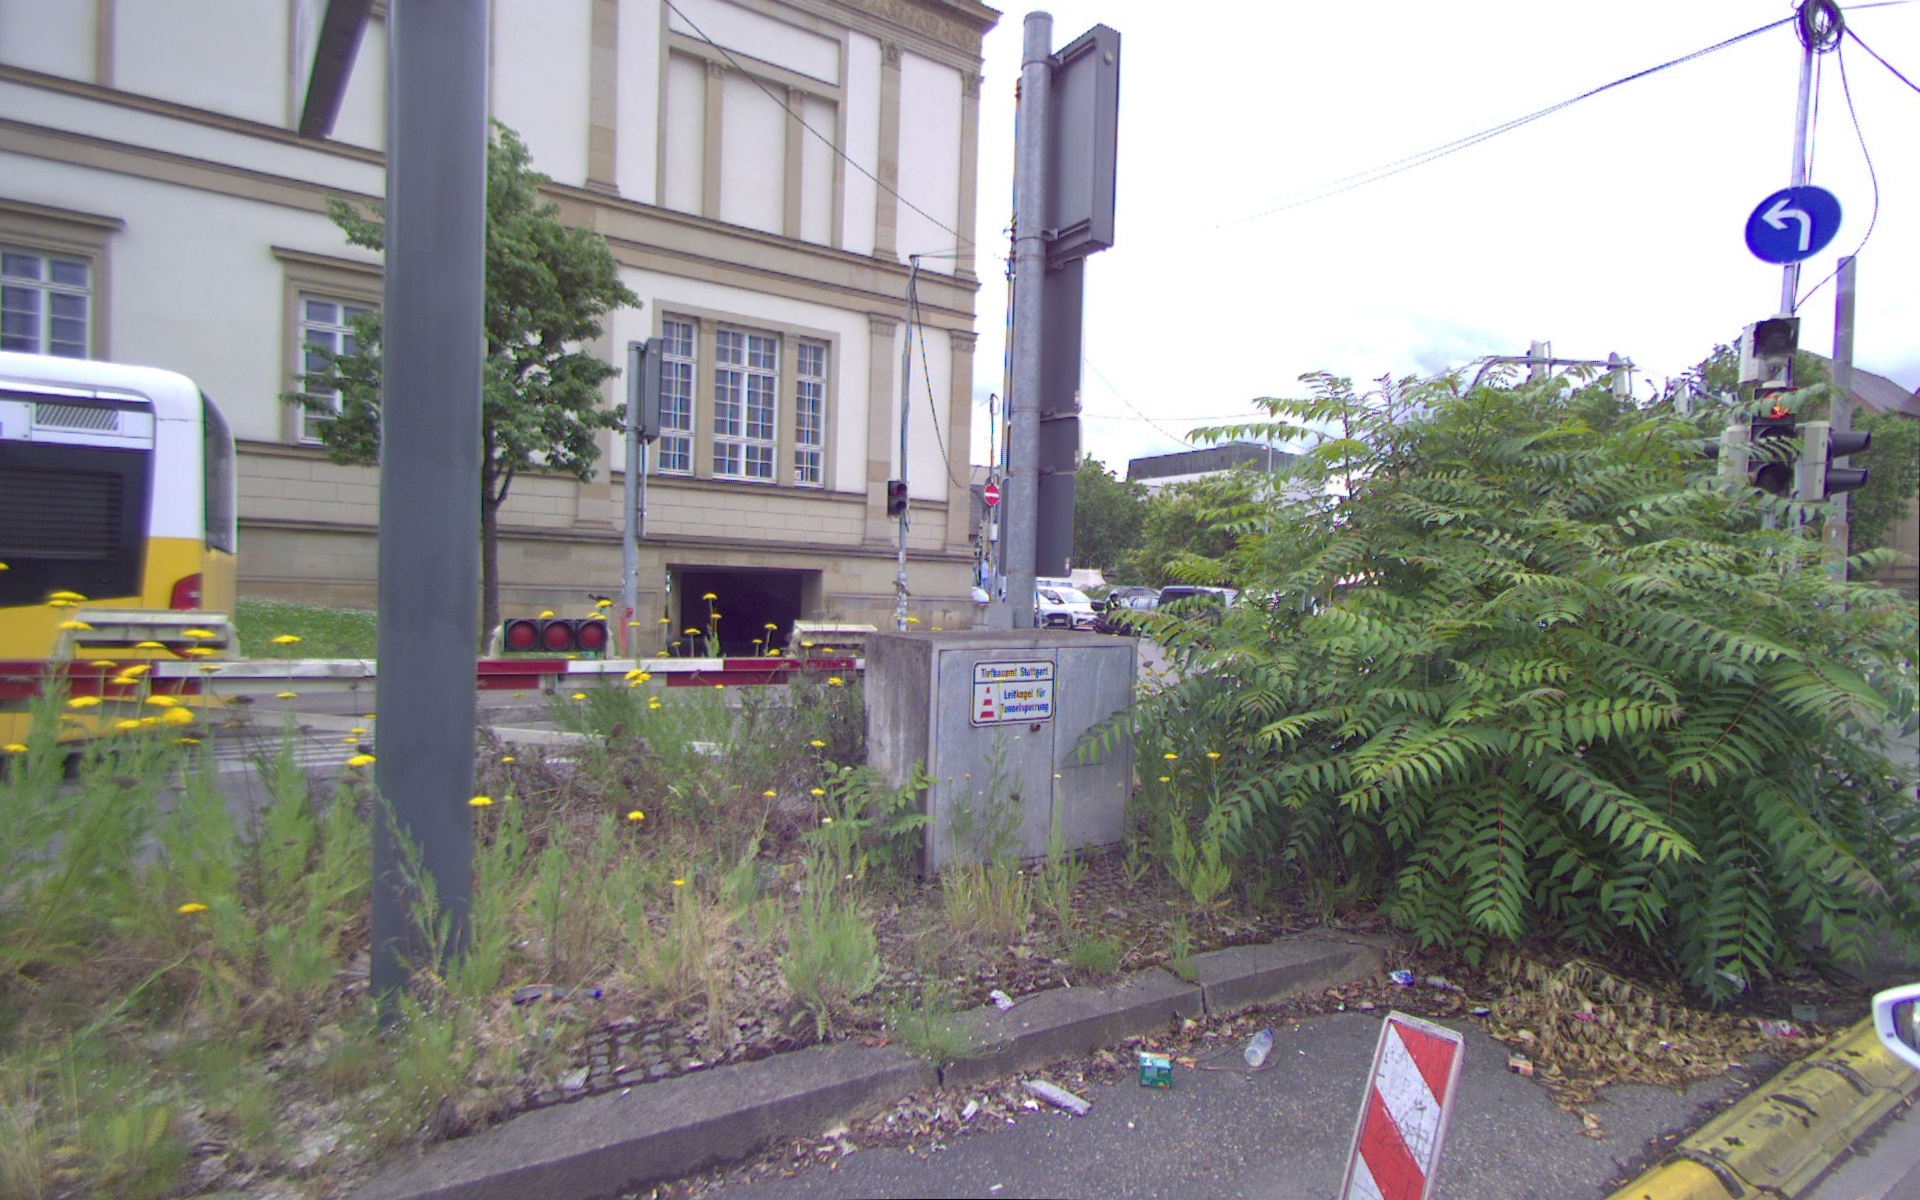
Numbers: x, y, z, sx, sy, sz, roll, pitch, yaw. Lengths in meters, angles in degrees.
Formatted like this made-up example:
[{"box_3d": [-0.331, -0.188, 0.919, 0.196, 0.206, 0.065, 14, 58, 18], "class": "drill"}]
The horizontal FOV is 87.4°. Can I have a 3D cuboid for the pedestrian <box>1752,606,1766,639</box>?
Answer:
[{"box_3d": [49.757, 1.377, 62.572, 0.516, 2.040, 0.428, 2, 1, 17], "class": "pedestrian"}]

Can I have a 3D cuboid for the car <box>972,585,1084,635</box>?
[{"box_3d": [2.484, 0.350, 37.596, 1.979, 1.698, 4.285, 1, 1, -34], "class": "car"}]

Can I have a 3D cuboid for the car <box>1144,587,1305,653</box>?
[{"box_3d": [7.586, 0.523, 29.209, 1.979, 1.698, 4.285, 1, 1, -34], "class": "car"}]

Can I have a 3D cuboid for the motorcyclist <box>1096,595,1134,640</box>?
[{"box_3d": [5.032, 0.562, 32.699, 0.738, 1.442, 0.959, 1, 1, -35], "class": "motorcyclist"}]

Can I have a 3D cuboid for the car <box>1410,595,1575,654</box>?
[{"box_3d": [17.124, 0.739, 32.449, 1.986, 1.698, 4.271, 1, 1, -43], "class": "car"}]

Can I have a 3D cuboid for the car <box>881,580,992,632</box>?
[{"box_3d": [-0.915, 0.177, 35.919, 1.979, 1.698, 4.285, 1, 1, -34], "class": "car"}]

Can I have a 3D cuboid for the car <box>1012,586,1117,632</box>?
[{"box_3d": [4.219, 0.341, 41.028, 1.979, 1.698, 4.285, 1, 1, -34], "class": "car"}]

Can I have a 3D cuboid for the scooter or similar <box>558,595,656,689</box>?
[{"box_3d": [-4.947, 0.582, 14.133, 1.132, 1.190, 0.540, 6, 0, -10], "class": "scooter or similar"}]

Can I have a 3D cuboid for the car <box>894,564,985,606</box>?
[{"box_3d": [-0.947, -0.671, 43.684, 1.979, 1.698, 4.285, 1, 1, -34], "class": "car"}]

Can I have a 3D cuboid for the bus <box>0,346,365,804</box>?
[{"box_3d": [-9.381, -0.238, 6.911, 9.017, 3.156, 2.831, 1, 1, -31], "class": "bus"}]

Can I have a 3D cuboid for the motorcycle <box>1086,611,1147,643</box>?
[{"box_3d": [5.065, 0.853, 32.652, 0.749, 0.937, 2.042, 1, 1, -35], "class": "motorcycle"}]
